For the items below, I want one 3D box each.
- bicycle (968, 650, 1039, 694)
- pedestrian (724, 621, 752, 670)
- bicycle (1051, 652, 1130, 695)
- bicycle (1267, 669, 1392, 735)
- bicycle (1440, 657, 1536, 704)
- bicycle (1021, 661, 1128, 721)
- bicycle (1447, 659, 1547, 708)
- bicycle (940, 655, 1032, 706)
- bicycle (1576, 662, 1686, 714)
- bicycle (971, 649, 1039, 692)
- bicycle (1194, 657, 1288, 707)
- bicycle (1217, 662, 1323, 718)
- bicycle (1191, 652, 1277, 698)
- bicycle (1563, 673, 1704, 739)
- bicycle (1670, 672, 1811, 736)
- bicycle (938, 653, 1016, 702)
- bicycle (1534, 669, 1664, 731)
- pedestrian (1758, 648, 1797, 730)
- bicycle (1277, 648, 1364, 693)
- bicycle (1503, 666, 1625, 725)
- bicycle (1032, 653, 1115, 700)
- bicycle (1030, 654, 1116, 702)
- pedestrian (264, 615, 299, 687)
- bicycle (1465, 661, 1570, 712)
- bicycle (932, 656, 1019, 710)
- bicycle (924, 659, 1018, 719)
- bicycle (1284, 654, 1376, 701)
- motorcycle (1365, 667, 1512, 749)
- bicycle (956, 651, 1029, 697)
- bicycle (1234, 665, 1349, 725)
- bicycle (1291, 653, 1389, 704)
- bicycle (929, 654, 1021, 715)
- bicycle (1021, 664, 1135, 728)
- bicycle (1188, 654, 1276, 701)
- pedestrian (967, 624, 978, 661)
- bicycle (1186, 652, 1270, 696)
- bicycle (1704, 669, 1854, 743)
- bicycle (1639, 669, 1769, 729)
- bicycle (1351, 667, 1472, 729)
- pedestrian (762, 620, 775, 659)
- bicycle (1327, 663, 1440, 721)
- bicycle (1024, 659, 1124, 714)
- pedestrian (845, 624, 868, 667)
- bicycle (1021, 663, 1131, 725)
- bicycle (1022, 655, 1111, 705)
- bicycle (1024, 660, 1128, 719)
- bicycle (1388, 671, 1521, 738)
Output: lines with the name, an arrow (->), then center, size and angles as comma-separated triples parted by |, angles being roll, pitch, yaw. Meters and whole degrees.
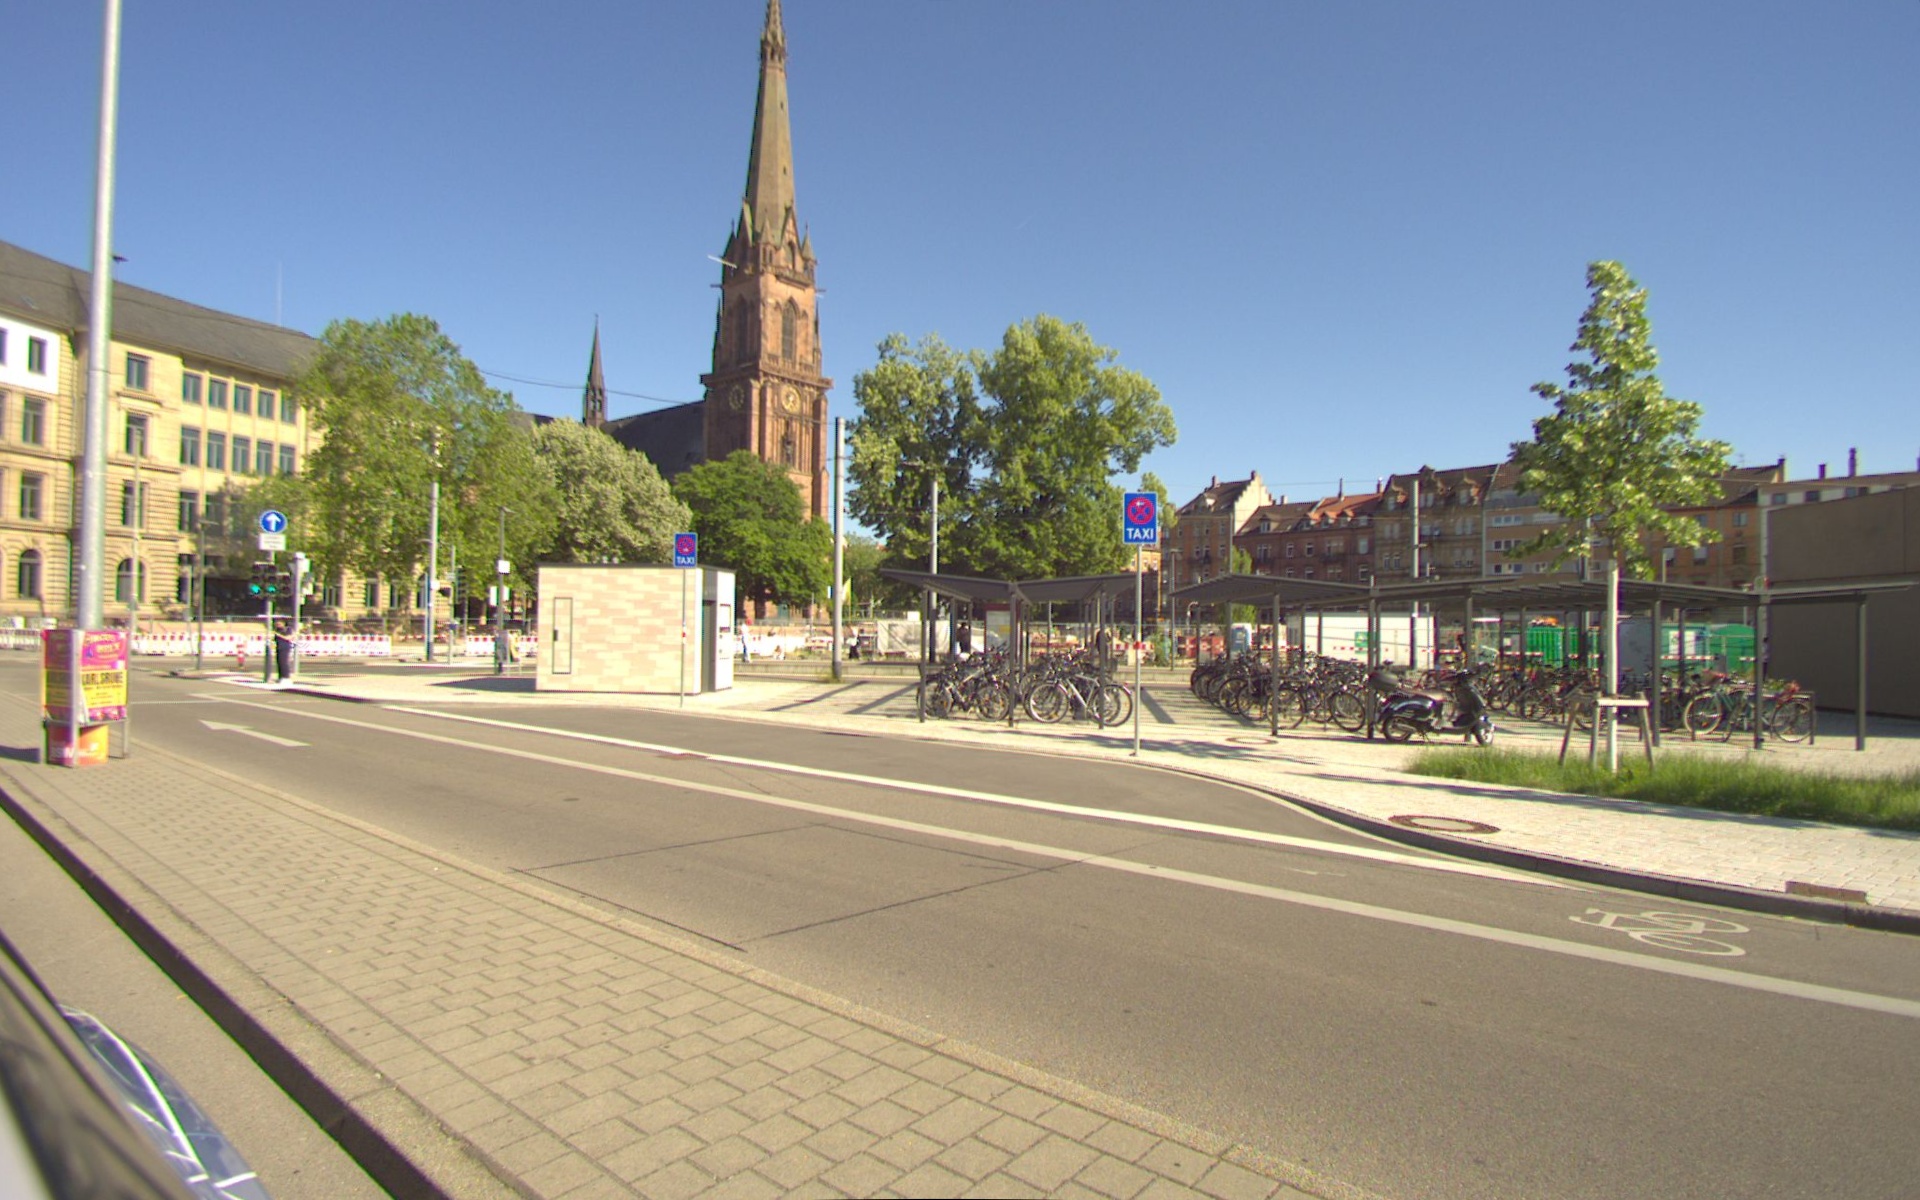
bicycle -> 1.050, 1.717, 24.224 | 1.652, 1.016, 0.456 | 0, -2, 8
pedestrian -> -8.290, 1.680, 37.833 | 0.792, 1.793, 0.977 | 0, -2, 3
bicycle -> 3.170, 1.778, 24.597 | 1.882, 1.016, 0.456 | 0, -2, 8
bicycle -> 6.128, 1.684, 16.837 | 1.882, 1.016, 0.456 | 0, -2, 8
bicycle -> 12.086, 1.838, 23.191 | 1.882, 1.016, 0.456 | 0, -2, 8
bicycle -> 2.062, 1.635, 18.259 | 1.882, 1.016, 0.456 | 0, -2, 8
bicycle -> 11.791, 1.827, 22.240 | 1.882, 1.016, 0.456 | 0, -2, 8
bicycle -> 0.551, 1.677, 21.224 | 1.882, 1.016, 0.456 | 0, -2, 8
bicycle -> 13.881, 1.820, 20.968 | 1.882, 1.016, 0.456 | 0, -2, 8
bicycle -> 1.114, 1.731, 24.940 | 1.652, 1.016, 0.456 | 0, -2, 8
bicycle -> 5.973, 1.749, 21.607 | 1.882, 1.016, 0.456 | 0, -2, 8
bicycle -> 5.905, 1.710, 19.320 | 1.882, 1.016, 0.456 | 0, -2, 8
bicycle -> 6.373, 1.734, 23.565 | 1.882, 1.016, 0.456 | 0, -2, 8
bicycle -> 10.980, 1.719, 16.534 | 1.882, 1.016, 0.456 | 0, -2, 8
bicycle -> 13.136, 1.745, 17.062 | 1.882, 1.016, 0.456 | 0, -2, 8
bicycle -> 0.379, 1.692, 22.222 | 1.652, 1.016, 0.456 | 0, -2, 8
bicycle -> 11.108, 1.734, 17.639 | 1.882, 1.016, 0.456 | 0, -2, 8
pedestrian -> 20.829, 2.236, 25.776 | 0.718, 2.029, 0.678 | -1, -2, 41
bicycle -> 8.494, 1.654, 23.907 | 1.882, 1.016, 0.456 | 0, -2, 8
bicycle -> 11.171, 1.758, 18.755 | 1.882, 1.016, 0.456 | 0, -2, 8
bicycle -> 2.613, 1.750, 23.301 | 1.882, 1.016, 0.456 | 0, -2, 8
bicycle -> 2.518, 1.728, 22.532 | 1.882, 1.016, 0.456 | 0, -2, 8
pedestrian -> -17.851, 1.335, 26.633 | 0.683, 1.868, 0.680 | 2, -2, -37
bicycle -> 11.721, 1.816, 21.310 | 1.882, 1.016, 0.456 | 0, -2, 8
bicycle -> 0.312, 1.622, 19.886 | 1.652, 1.016, 0.456 | 0, -2, 8
bicycle -> 0.208, 1.587, 18.189 | 1.652, 1.016, 0.456 | 0, -2, 8
bicycle -> 8.323, 1.737, 22.815 | 1.882, 1.016, 0.456 | 0, -2, 8
motorcycle -> 7.168, 1.604, 15.223 | 1.924, 1.160, 0.516 | 0, -2, 6
bicycle -> 0.754, 1.712, 23.480 | 1.652, 1.016, 0.456 | 0, -2, 8
bicycle -> 5.907, 1.685, 18.090 | 1.882, 1.016, 0.456 | 0, -2, 8
bicycle -> 8.064, 1.663, 21.517 | 1.882, 1.016, 0.456 | 0, -2, 8
bicycle -> 0.287, 1.561, 18.775 | 1.652, 1.069, 0.456 | 0, -2, 8
bicycle -> 1.996, 1.604, 17.112 | 1.882, 1.016, 0.456 | 0, -2, 8
bicycle -> 6.156, 1.740, 22.941 | 1.882, 1.016, 0.456 | 0, -2, 8
pedestrian -> 0.595, 1.997, 47.614 | 0.399, 1.734, 0.419 | 1, -2, -11
bicycle -> 6.401, 1.764, 24.223 | 1.882, 1.016, 0.456 | 0, -2, 8
bicycle -> 13.089, 1.687, 16.203 | 1.882, 1.106, 0.456 | 0, -2, 8
bicycle -> 13.476, 1.779, 18.361 | 1.882, 1.016, 0.456 | 0, -2, 8
bicycle -> 7.901, 1.711, 17.760 | 1.882, 1.016, 0.456 | 0, -2, 8
pedestrian -> -10.814, 2.214, 57.182 | 0.545, 2.171, 0.568 | 0, -2, 15
bicycle -> 7.925, 1.714, 18.993 | 1.882, 1.016, 0.456 | 0, -2, 8
bicycle -> 2.204, 1.661, 19.583 | 1.882, 1.016, 0.456 | 0, -2, 8
pedestrian -> -4.301, 1.887, 42.188 | 0.792, 1.793, 0.977 | 0, -2, 3
bicycle -> 2.026, 1.626, 17.672 | 1.882, 1.016, 0.456 | 0, -2, 8
bicycle -> 2.304, 1.724, 21.918 | 1.882, 1.016, 0.456 | 0, -2, 8
bicycle -> 2.144, 1.647, 18.741 | 1.882, 1.016, 0.456 | 0, -2, 8
bicycle -> 8.035, 1.693, 16.491 | 1.882, 1.016, 0.456 | 0, -2, 8
